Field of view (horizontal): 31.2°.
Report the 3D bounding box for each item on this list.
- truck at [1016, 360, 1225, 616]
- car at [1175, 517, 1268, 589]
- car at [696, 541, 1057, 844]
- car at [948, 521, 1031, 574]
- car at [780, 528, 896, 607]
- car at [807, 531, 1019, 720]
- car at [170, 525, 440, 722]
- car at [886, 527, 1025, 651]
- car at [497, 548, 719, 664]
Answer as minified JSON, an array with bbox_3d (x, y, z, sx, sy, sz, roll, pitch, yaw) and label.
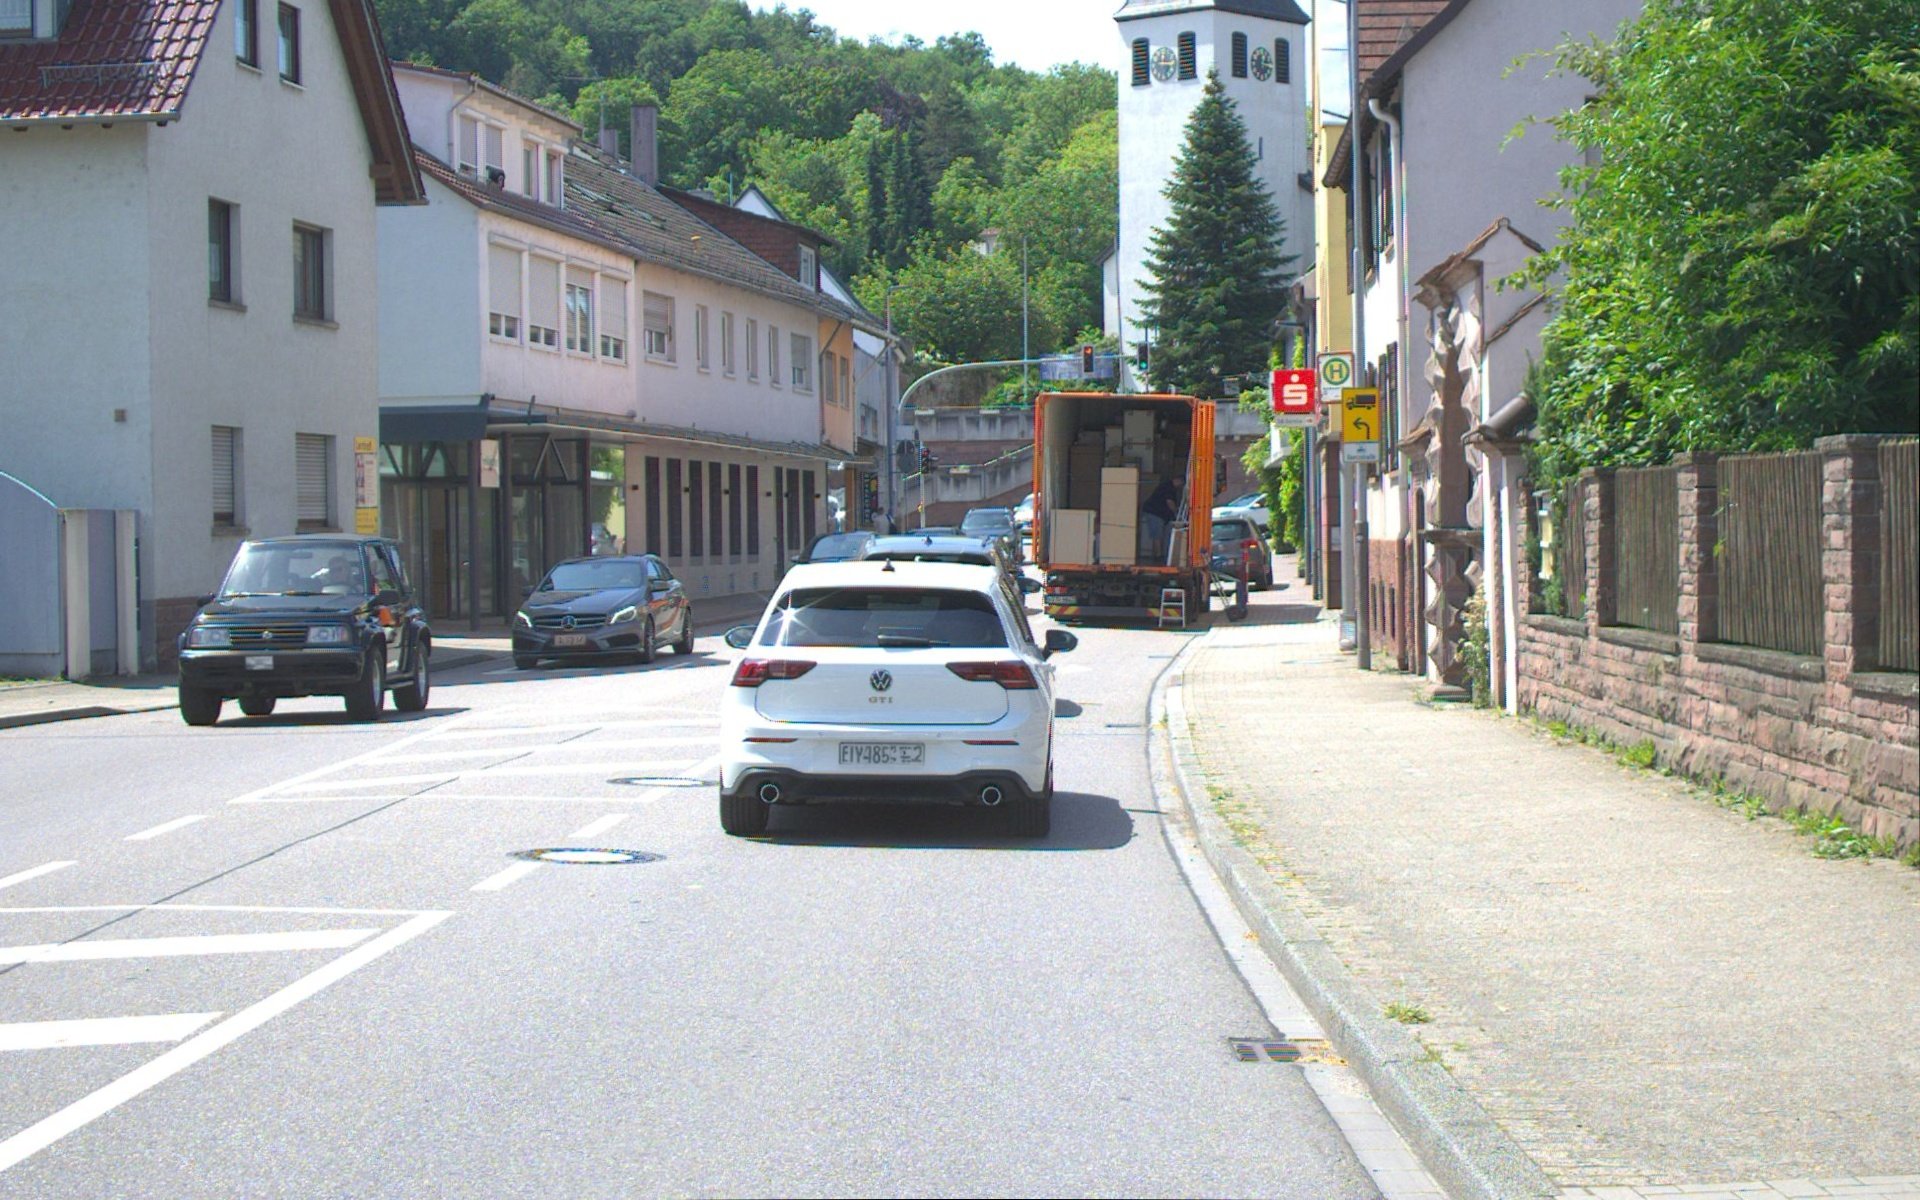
[{"bbox_3d":[2.953,-1.899,61.983,3.367,4.156,9.518,-2,0,3],"label":"truck"},{"bbox_3d":[5.829,-1.034,77.011,1.815,1.514,4.000,-2,0,1],"label":"car"},{"bbox_3d":[-0.384,0.448,19.360,1.815,1.514,4.000,0,0,1],"label":"car"},{"bbox_3d":[0.884,-1.507,99.492,1.863,1.437,4.216,-2,0,7],"label":"car"},{"bbox_3d":[-2.440,-0.666,69.663,1.796,1.503,4.133,-2,0,5],"label":"car"},{"bbox_3d":[-0.382,0.208,32.433,1.815,1.623,4.000,-2,0,1],"label":"car"},{"bbox_3d":[-5.816,0.164,30.907,1.739,1.645,3.669,-1,1,0],"label":"car"},{"bbox_3d":[-0.023,-0.167,48.391,1.815,1.623,4.000,-2,0,1],"label":"car"},{"bbox_3d":[-4.657,0.051,46.104,1.864,1.437,4.215,-2,0,10],"label":"car"}]
